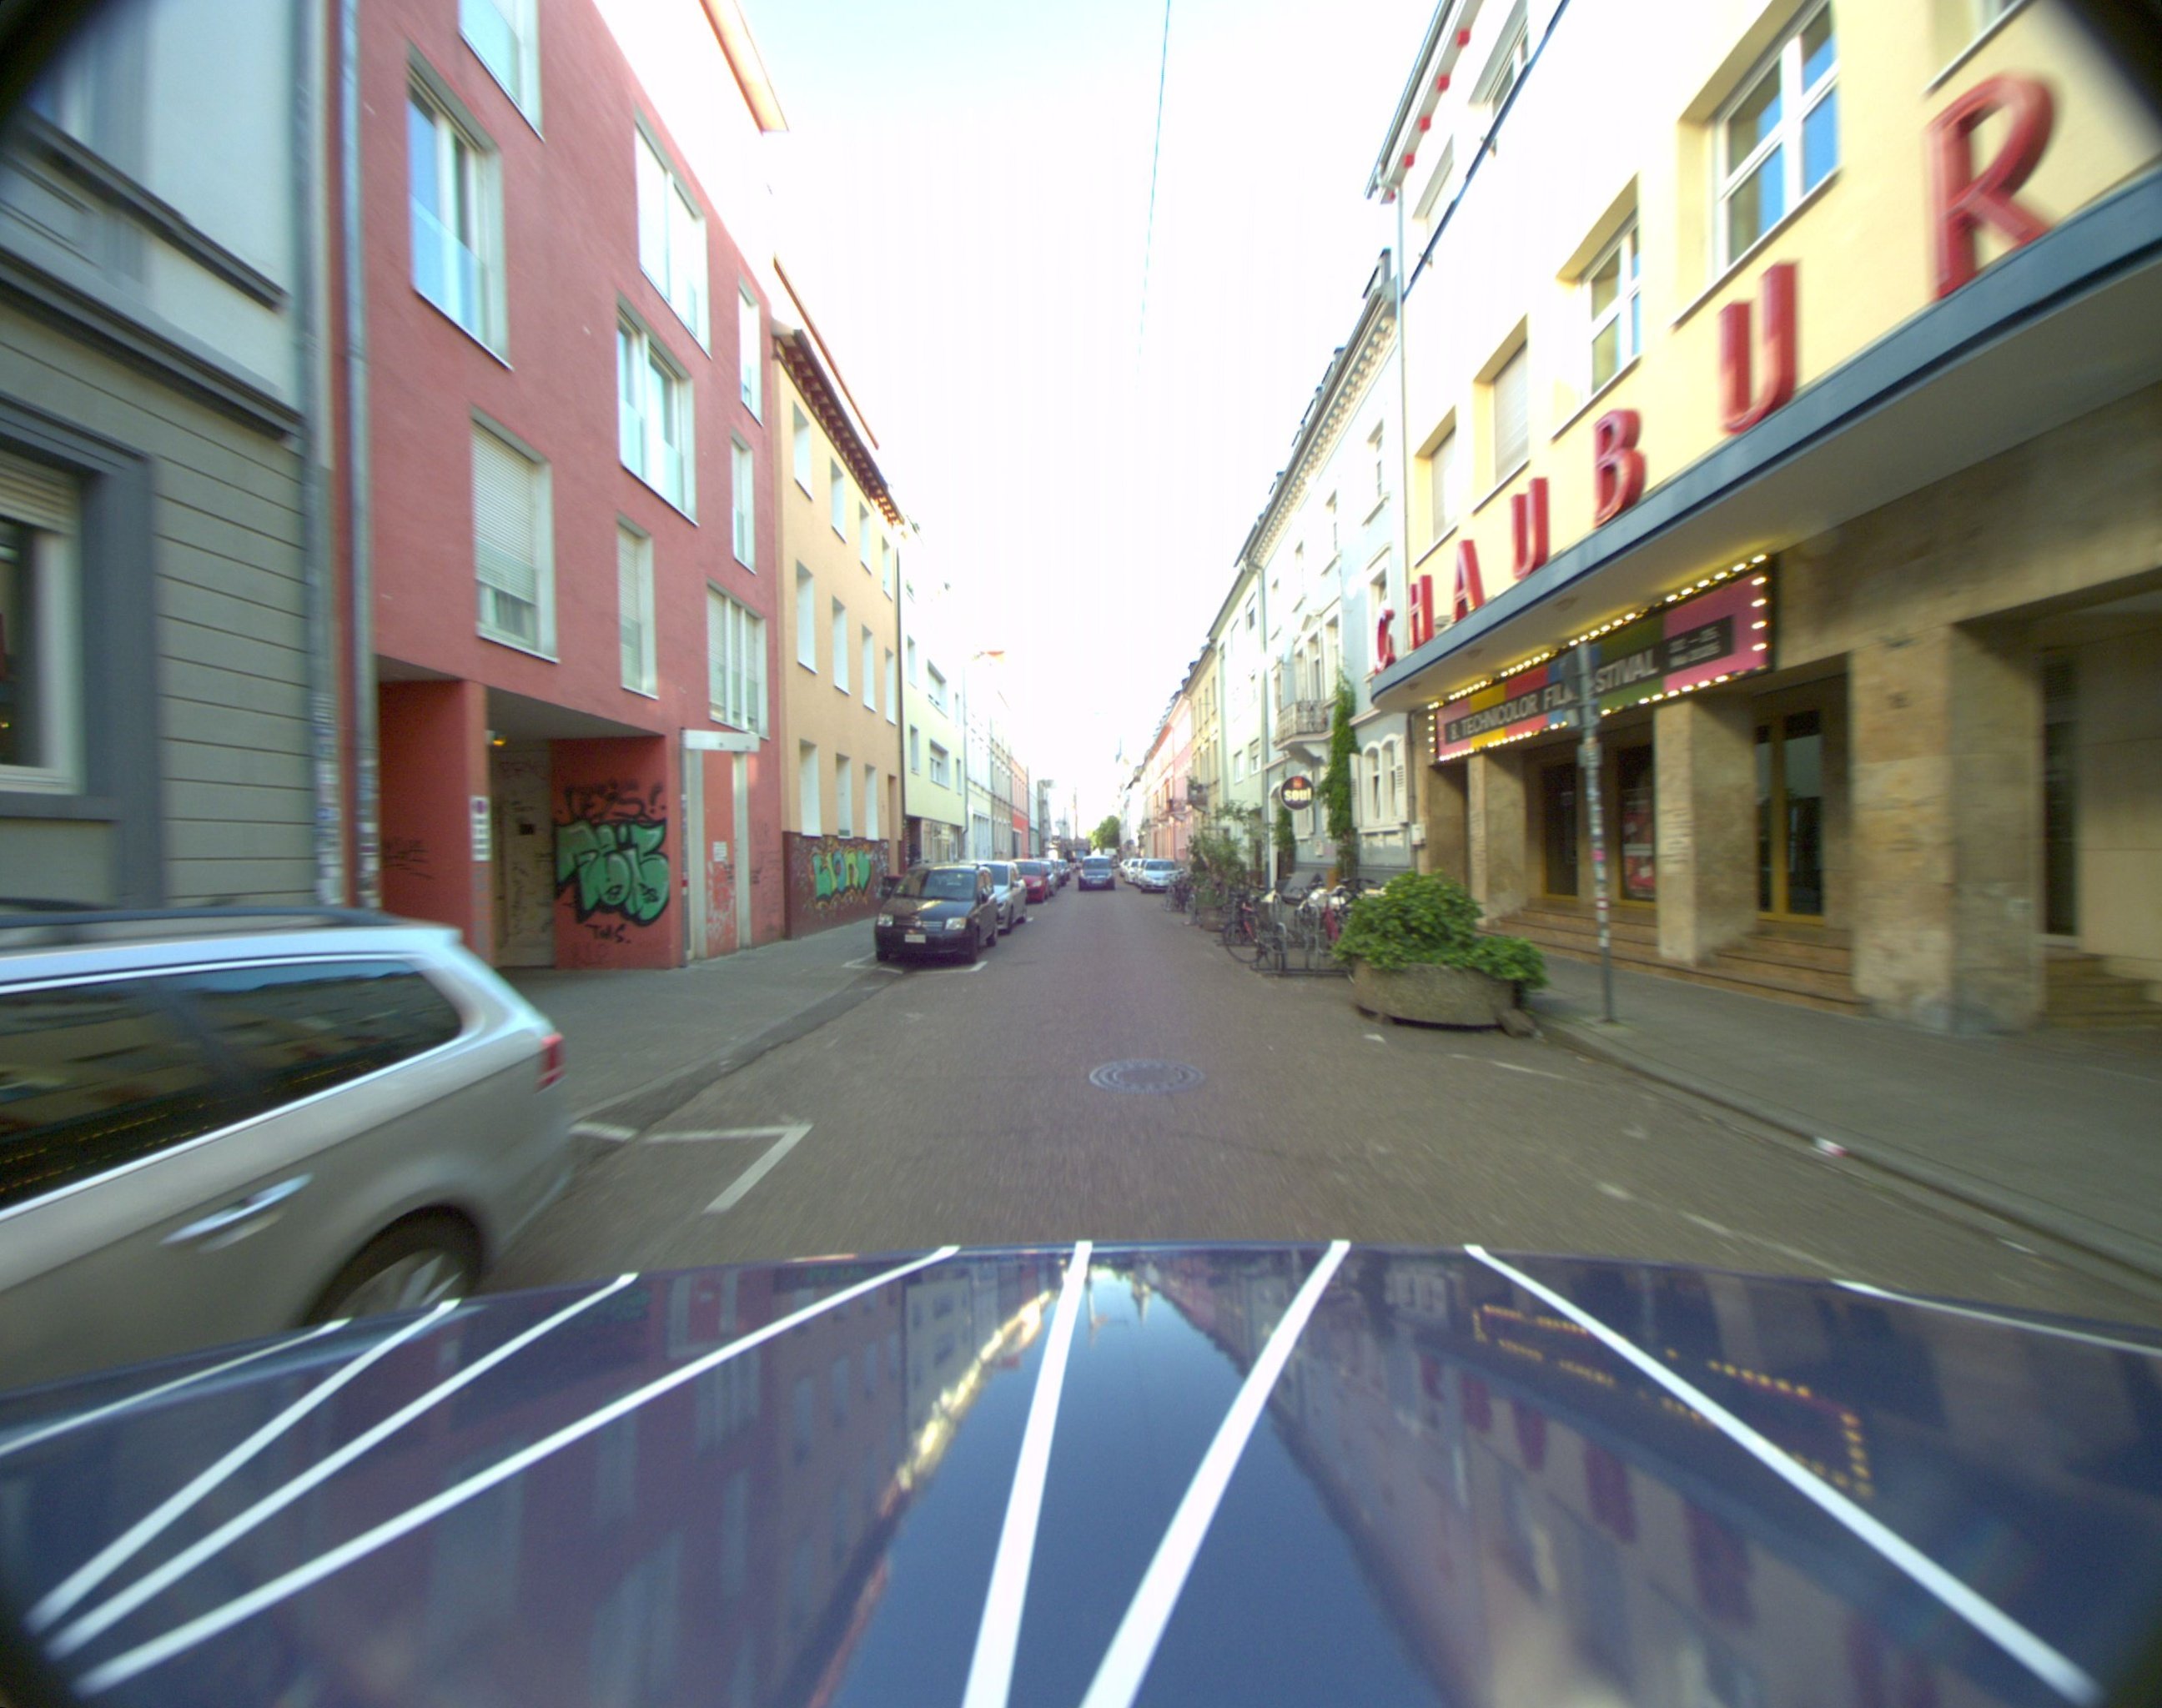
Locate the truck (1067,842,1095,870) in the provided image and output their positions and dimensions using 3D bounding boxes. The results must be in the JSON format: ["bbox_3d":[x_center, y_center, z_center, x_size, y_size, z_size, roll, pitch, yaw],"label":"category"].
[{"bbox_3d":[0.026,0.206,82.765,2.819,2.735,7.678,-3,0,1],"label":"truck"}]

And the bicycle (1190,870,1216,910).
[{"bbox_3d":[3.645,1.045,22.814,0.444,1.099,1.874,-2,0,0],"label":"bicycle"}]

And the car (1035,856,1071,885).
[{"bbox_3d":[-1.554,0.907,43.607,1.766,1.513,4.380,-2,0,1],"label":"car"}]

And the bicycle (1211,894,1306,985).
[{"bbox_3d":[2.377,1.114,10.359,0.462,1.041,1.748,-3,0,-15],"label":"bicycle"}]

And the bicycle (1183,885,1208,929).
[{"bbox_3d":[2.635,1.193,17.517,0.391,0.911,1.393,-1,0,2],"label":"bicycle"}]

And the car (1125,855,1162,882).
[{"bbox_3d":[3.549,0.820,43.865,1.792,1.454,4.200,0,0,0],"label":"car"}]

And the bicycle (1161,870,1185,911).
[{"bbox_3d":[2.695,1.054,22.359,0.500,1.099,1.830,-2,0,1],"label":"bicycle"}]

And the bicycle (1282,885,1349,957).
[{"bbox_3d":[3.828,1.074,12.515,0.575,1.039,1.409,-2,0,-3],"label":"bicycle"}]

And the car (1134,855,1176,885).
[{"bbox_3d":[3.747,0.778,38.849,1.794,1.443,4.000,-1,0,1],"label":"car"}]

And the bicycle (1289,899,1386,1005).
[{"bbox_3d":[3.074,1.131,9.279,0.443,1.041,1.864,-3,0,-3],"label":"bicycle"}]

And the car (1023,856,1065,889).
[{"bbox_3d":[-1.801,0.884,38.086,1.794,1.542,4.000,-1,0,1],"label":"car"}]

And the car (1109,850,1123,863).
[{"bbox_3d":[5.332,0.376,116.230,1.998,2.002,4.258,0,0,2],"label":"car"}]

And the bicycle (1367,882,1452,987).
[{"bbox_3d":[4.153,0.976,9.703,0.340,1.167,1.490,-3,0,-3],"label":"bicycle"}]

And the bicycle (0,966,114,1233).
[{"bbox_3d":[-5.043,1.101,2.737,0.712,1.091,1.900,2,1,-1],"label":"bicycle"}]

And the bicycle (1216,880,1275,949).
[{"bbox_3d":[2.970,1.067,13.878,0.547,1.087,1.881,-3,0,-3],"label":"bicycle"}]

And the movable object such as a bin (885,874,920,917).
[{"bbox_3d":[-4.635,1.073,19.775,0.694,1.052,0.736,1,1,2],"label":"movable object such as a bin"}]

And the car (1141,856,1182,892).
[{"bbox_3d":[3.497,0.834,33.356,1.684,1.446,4.035,0,0,5],"label":"car"}]

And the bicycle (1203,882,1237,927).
[{"bbox_3d":[3.251,1.159,17.854,0.555,0.938,1.572,-1,0,2],"label":"bicycle"}]

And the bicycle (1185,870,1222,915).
[{"bbox_3d":[3.328,1.029,20.723,0.815,1.168,0.920,-1,0,-1],"label":"bicycle"}]

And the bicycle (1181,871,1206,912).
[{"bbox_3d":[3.285,1.080,22.382,0.444,1.099,1.932,-2,0,1],"label":"bicycle"}]

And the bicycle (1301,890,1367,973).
[{"bbox_3d":[3.614,1.077,10.934,0.418,1.041,1.318,-3,0,-2],"label":"bicycle"}]

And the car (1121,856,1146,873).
[{"bbox_3d":[4.171,0.822,61.167,1.771,1.335,4.380,0,0,0],"label":"car"}]

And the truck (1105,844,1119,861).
[{"bbox_3d":[5.926,-0.293,144.867,2.524,3.271,6.643,-1,0,2],"label":"truck"}]

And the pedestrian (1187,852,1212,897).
[{"bbox_3d":[4.673,0.808,29.945,0.713,1.698,0.673,-2,1,33],"label":"pedestrian"}]

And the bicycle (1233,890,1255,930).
[{"bbox_3d":[3.701,1.252,17.293,0.256,0.813,1.299,-2,0,2],"label":"bicycle"}]

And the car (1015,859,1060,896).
[{"bbox_3d":[-1.808,0.965,32.567,1.692,1.444,4.193,0,0,0],"label":"car"}]

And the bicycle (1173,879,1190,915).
[{"bbox_3d":[2.742,1.160,20.762,0.322,0.911,1.290,-1,0,2],"label":"bicycle"}]

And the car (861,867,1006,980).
[{"bbox_3d":[-2.305,1.033,12.740,1.606,1.530,3.450,1,0,2],"label":"car"}]

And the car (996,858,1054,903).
[{"bbox_3d":[-1.984,0.909,27.991,1.701,1.514,3.981,0,0,2],"label":"car"}]

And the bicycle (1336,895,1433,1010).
[{"bbox_3d":[3.663,1.140,9.296,0.400,1.167,1.669,-3,0,-3],"label":"bicycle"}]

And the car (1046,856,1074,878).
[{"bbox_3d":[-1.440,0.884,53.843,1.831,1.474,4.464,0,0,1],"label":"car"}]

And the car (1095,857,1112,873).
[{"bbox_3d":[2.189,1.067,74.545,1.644,1.528,3.842,-1,0,1],"label":"car"}]

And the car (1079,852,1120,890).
[{"bbox_3d":[0.868,0.761,35.827,1.832,1.650,4.213,0,0,1],"label":"car"}]

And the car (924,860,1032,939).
[{"bbox_3d":[-2.238,0.948,17.536,1.750,1.547,4.172,-1,0,2],"label":"car"}]

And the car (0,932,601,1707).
[{"bbox_3d":[-2.700,1.044,0.527,1.791,1.446,4.547,2,0,1],"label":"car"}]
